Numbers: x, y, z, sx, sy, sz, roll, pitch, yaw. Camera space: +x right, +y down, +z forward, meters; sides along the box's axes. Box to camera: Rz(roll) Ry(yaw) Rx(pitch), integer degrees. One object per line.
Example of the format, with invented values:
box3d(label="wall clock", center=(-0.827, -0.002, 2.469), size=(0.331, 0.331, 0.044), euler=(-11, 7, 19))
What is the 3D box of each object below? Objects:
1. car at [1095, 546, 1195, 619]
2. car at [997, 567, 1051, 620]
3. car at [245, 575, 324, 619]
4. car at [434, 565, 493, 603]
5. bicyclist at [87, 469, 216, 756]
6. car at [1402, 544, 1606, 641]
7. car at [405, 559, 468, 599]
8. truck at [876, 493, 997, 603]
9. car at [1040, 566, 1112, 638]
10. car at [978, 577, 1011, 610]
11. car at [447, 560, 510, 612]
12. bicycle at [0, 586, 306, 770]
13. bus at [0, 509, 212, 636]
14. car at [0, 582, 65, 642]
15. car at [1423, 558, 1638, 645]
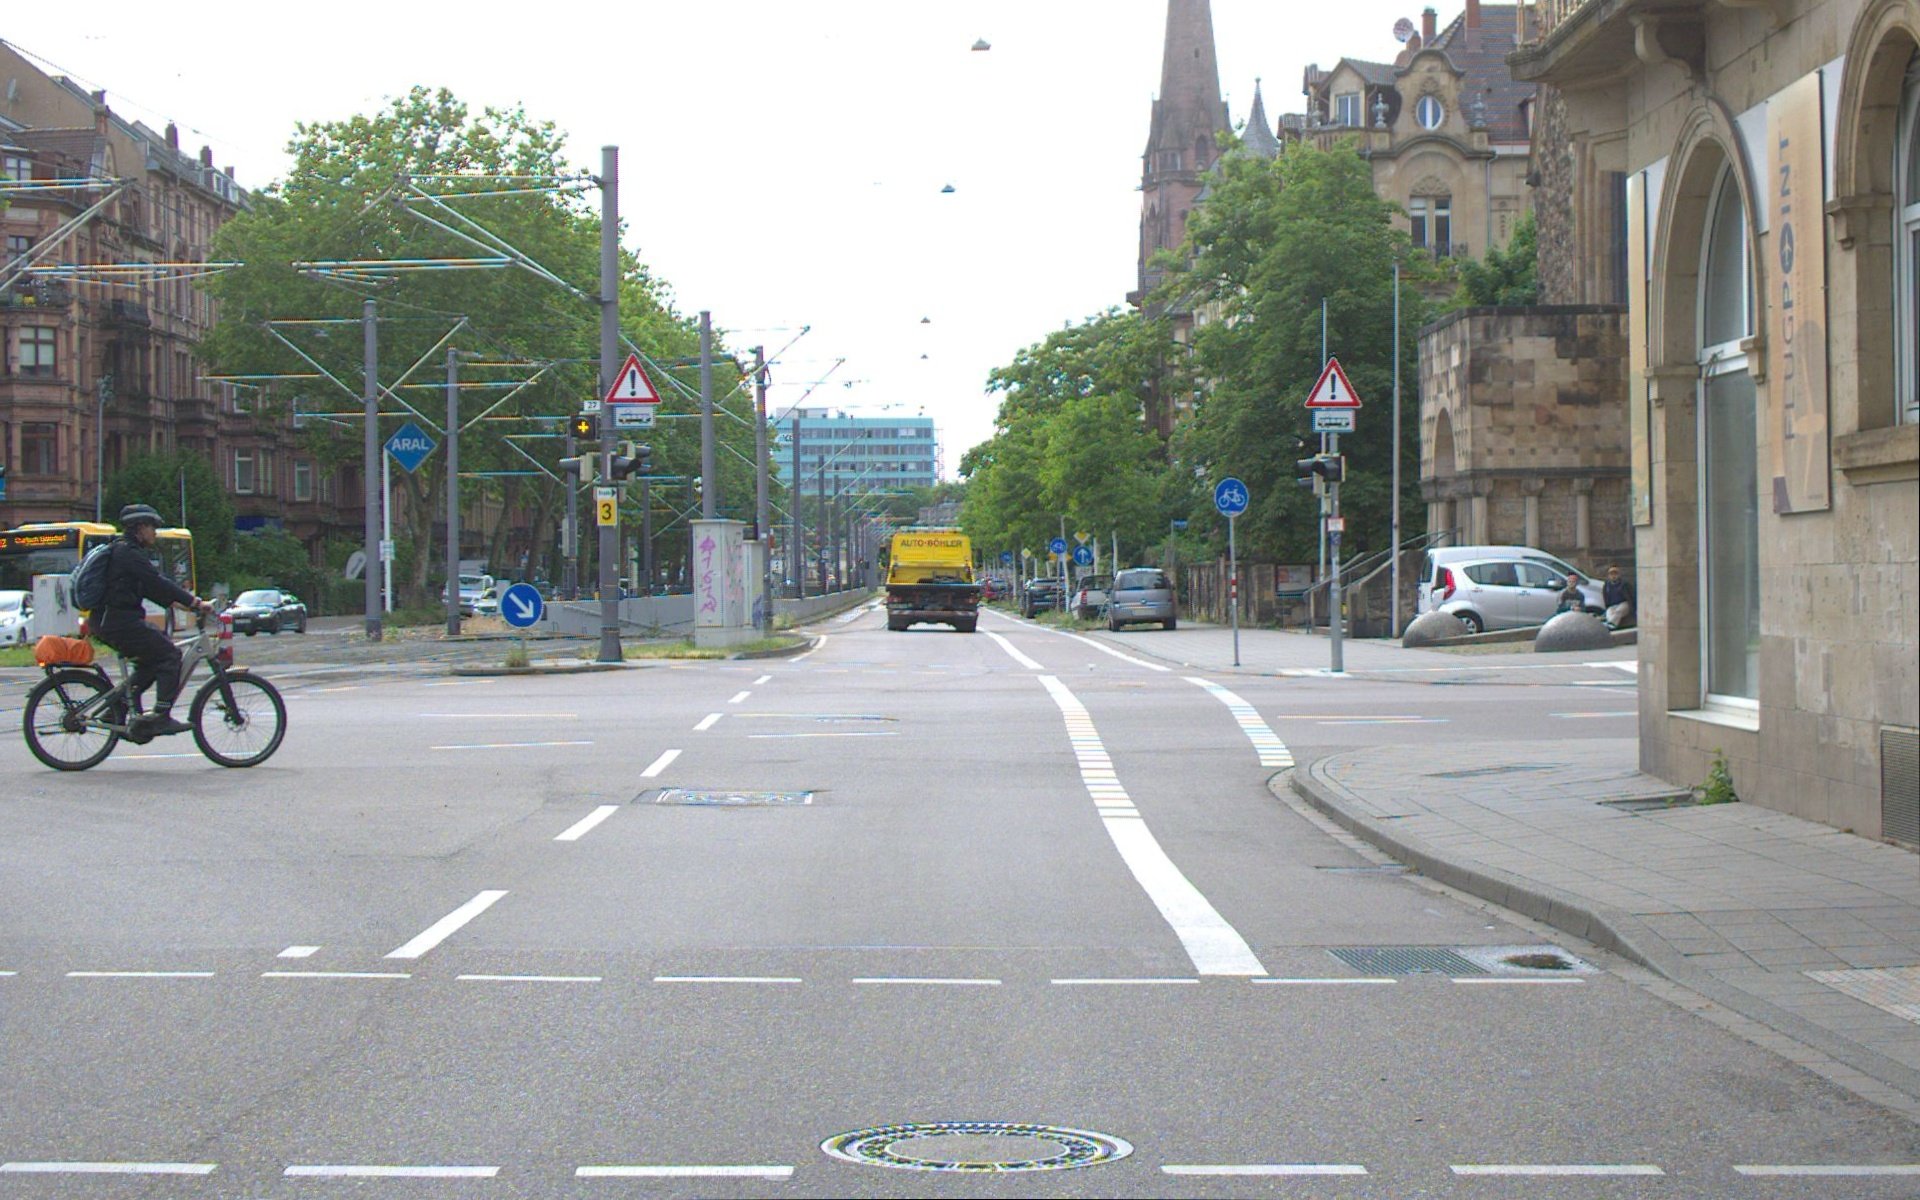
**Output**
box3d(label="car", center=(4.863, -0.470, 89.996), size=(1.994, 1.849, 4.024), euler=(1, 1, 12))
box3d(label="car", center=(2.531, -0.272, 136.000), size=(1.993, 2.007, 4.000), euler=(1, 1, -1))
box3d(label="car", center=(-21.100, -0.098, 107.463), size=(1.656, 1.316, 3.638), euler=(1, 1, 1))
box3d(label="car", center=(-21.541, -0.694, 149.231), size=(1.993, 1.605, 4.000), euler=(1, 1, -1))
box3d(label="bicyclist", center=(-5.773, 0.083, 24.525), size=(0.692, 2.007, 0.783), euler=(1, 0, -29))
box3d(label="car", center=(10.789, -0.160, 68.416), size=(3.713, 1.849, 2.000), euler=(1, 0, 0))
box3d(label="car", center=(-21.545, -0.876, 141.530), size=(1.993, 1.605, 4.000), euler=(1, 1, -1))
box3d(label="truck", center=(-0.669, -1.366, 91.769), size=(3.055, 2.760, 9.816), euler=(0, 1, -1))
box3d(label="car", center=(3.338, 0.034, 99.638), size=(1.993, 2.007, 4.000), euler=(1, 1, 1))
box3d(label="car", center=(2.182, -0.395, 216.848), size=(1.993, 2.007, 4.000), euler=(1, 1, -1))
box3d(label="car", center=(-19.298, -0.564, 137.908), size=(1.993, 2.007, 4.000), euler=(1, 1, -1))
box3d(label="bicycle", center=(-5.768, 0.545, 24.579), size=(1.991, 1.268, 0.751), euler=(1, 0, -30))
box3d(label="bus", center=(-22.482, -0.731, 89.104), size=(3.231, 3.025, 12.311), euler=(1, 1, 1))
box3d(label="car", center=(-21.914, 0.258, 79.055), size=(1.656, 1.316, 3.638), euler=(1, 1, 1))
box3d(label="car", center=(10.761, 0.017, 65.004), size=(3.713, 1.558, 2.000), euler=(1, 0, 0))
